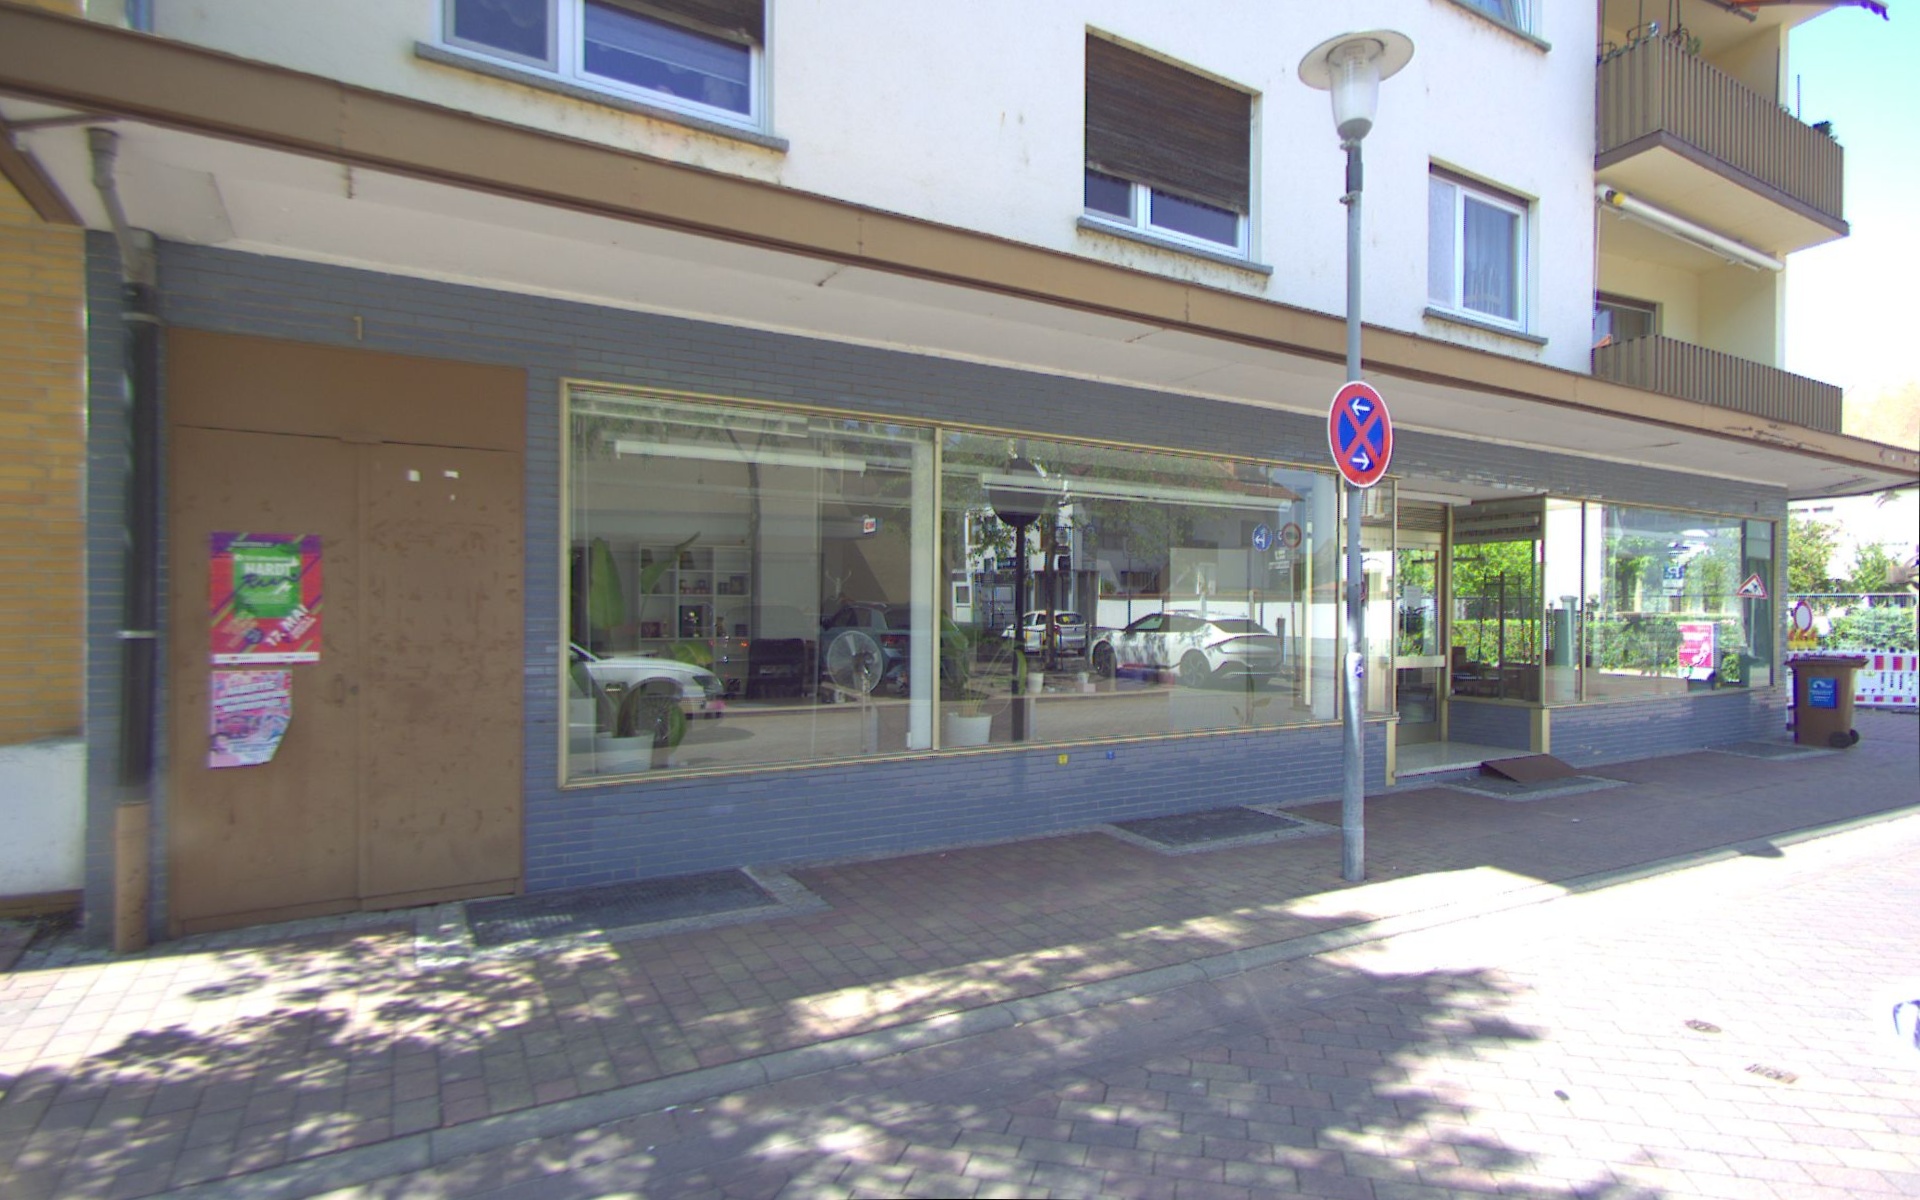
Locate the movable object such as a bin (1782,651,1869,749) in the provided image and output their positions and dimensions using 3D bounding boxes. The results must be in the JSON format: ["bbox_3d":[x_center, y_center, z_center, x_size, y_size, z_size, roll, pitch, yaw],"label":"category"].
[{"bbox_3d":[10.402,1.178,12.078,0.657,1.084,0.650,1,0,-36],"label":"movable object such as a bin"}]
